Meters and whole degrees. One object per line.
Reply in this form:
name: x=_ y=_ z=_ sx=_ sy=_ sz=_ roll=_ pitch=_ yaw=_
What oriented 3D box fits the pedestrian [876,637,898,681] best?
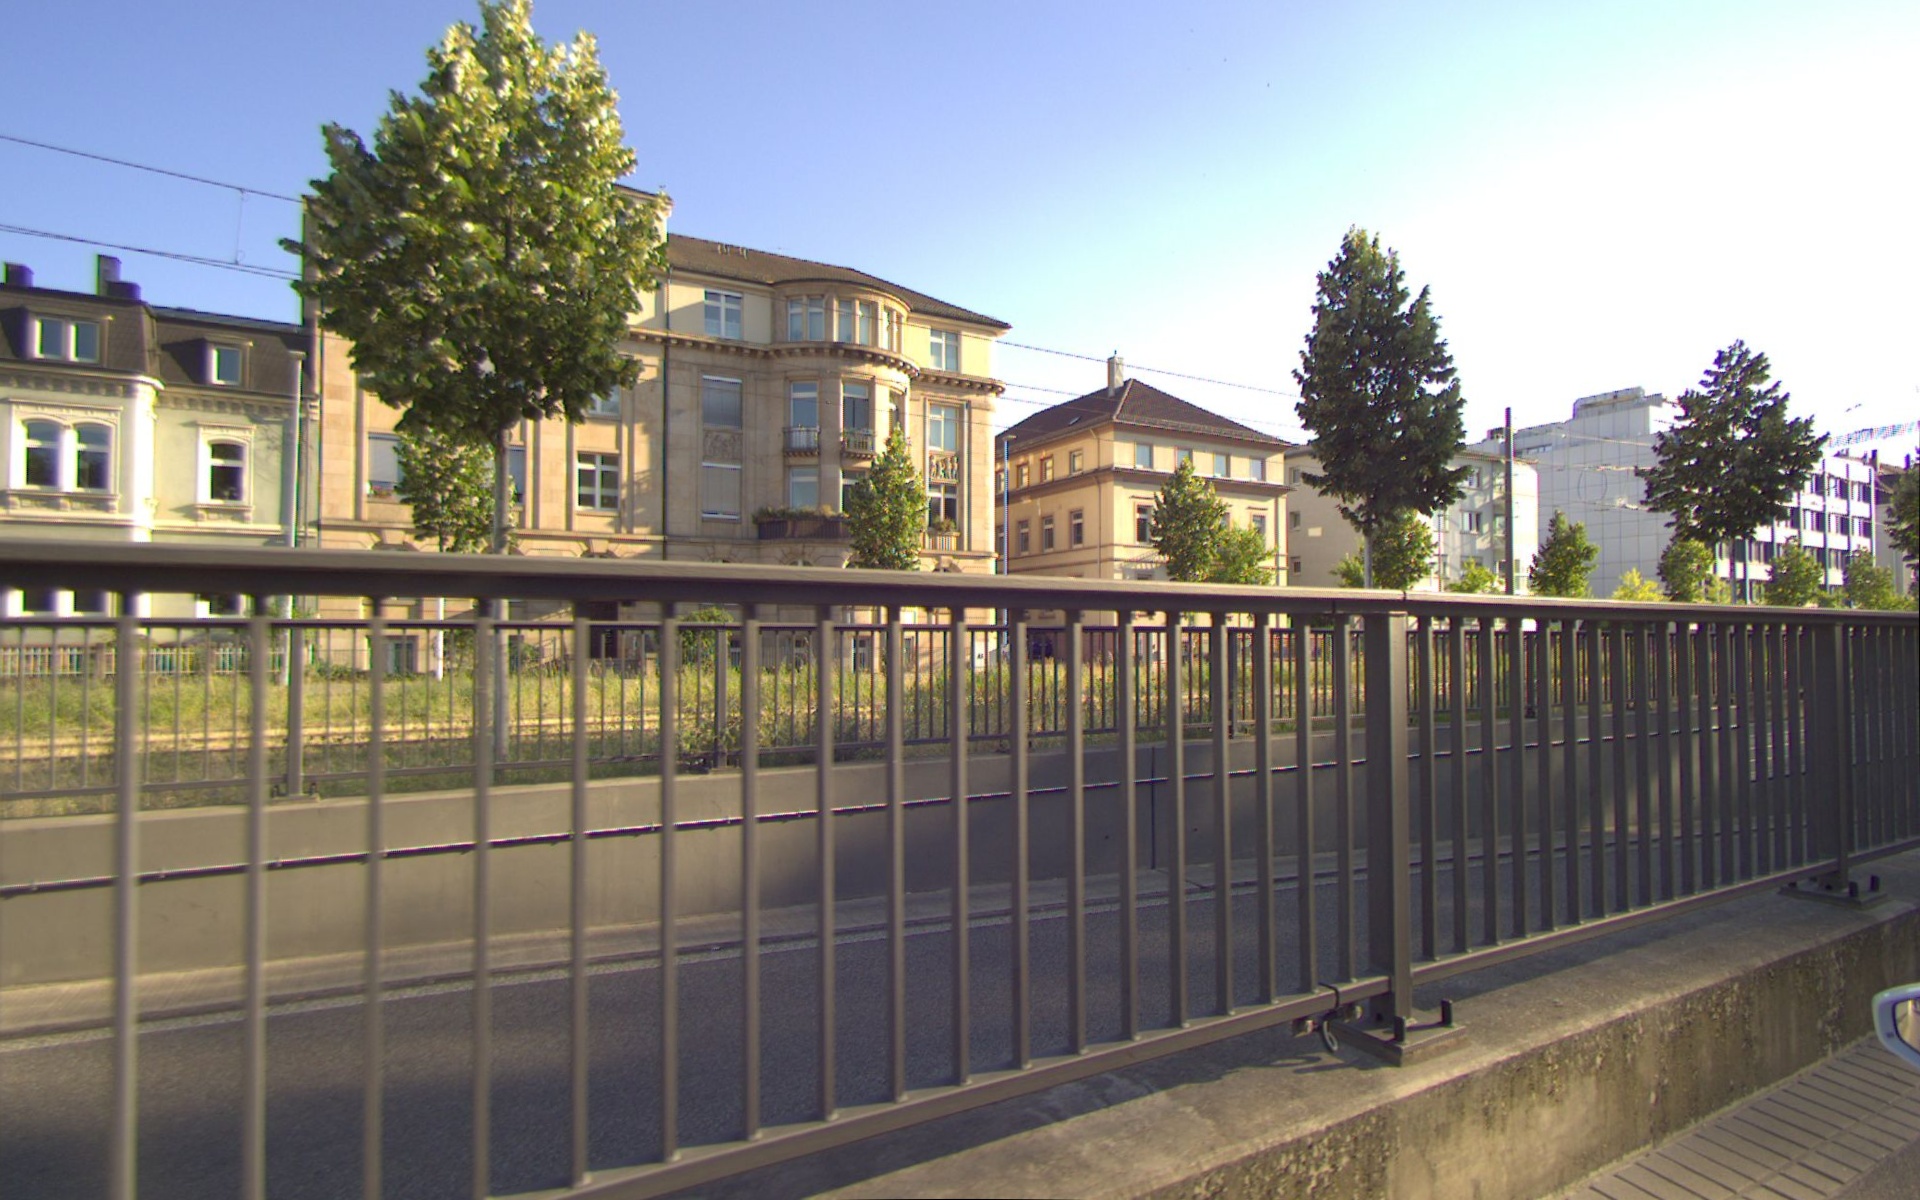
pedestrian: x=-2.929 y=2.354 z=40.197 sx=0.645 sy=1.743 sz=0.653 roll=1 pitch=-2 yaw=-30

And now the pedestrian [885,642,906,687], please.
pedestrian: x=-2.534 y=2.532 z=39.503 sx=0.645 sy=1.743 sz=0.553 roll=1 pitch=-2 yaw=-30

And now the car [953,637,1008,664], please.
car: x=1.228 y=3.102 z=61.986 sx=1.661 sy=1.488 sz=3.971 roll=2 pitch=-1 yaw=-28

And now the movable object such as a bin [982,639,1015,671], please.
movable object such as a bin: x=1.759 y=2.533 z=46.468 sx=1.067 sy=1.447 sz=1.200 roll=1 pitch=-2 yaw=-30

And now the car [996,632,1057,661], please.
car: x=3.771 y=2.634 z=57.420 sx=1.661 sy=1.488 sz=3.971 roll=2 pitch=-1 yaw=-28
